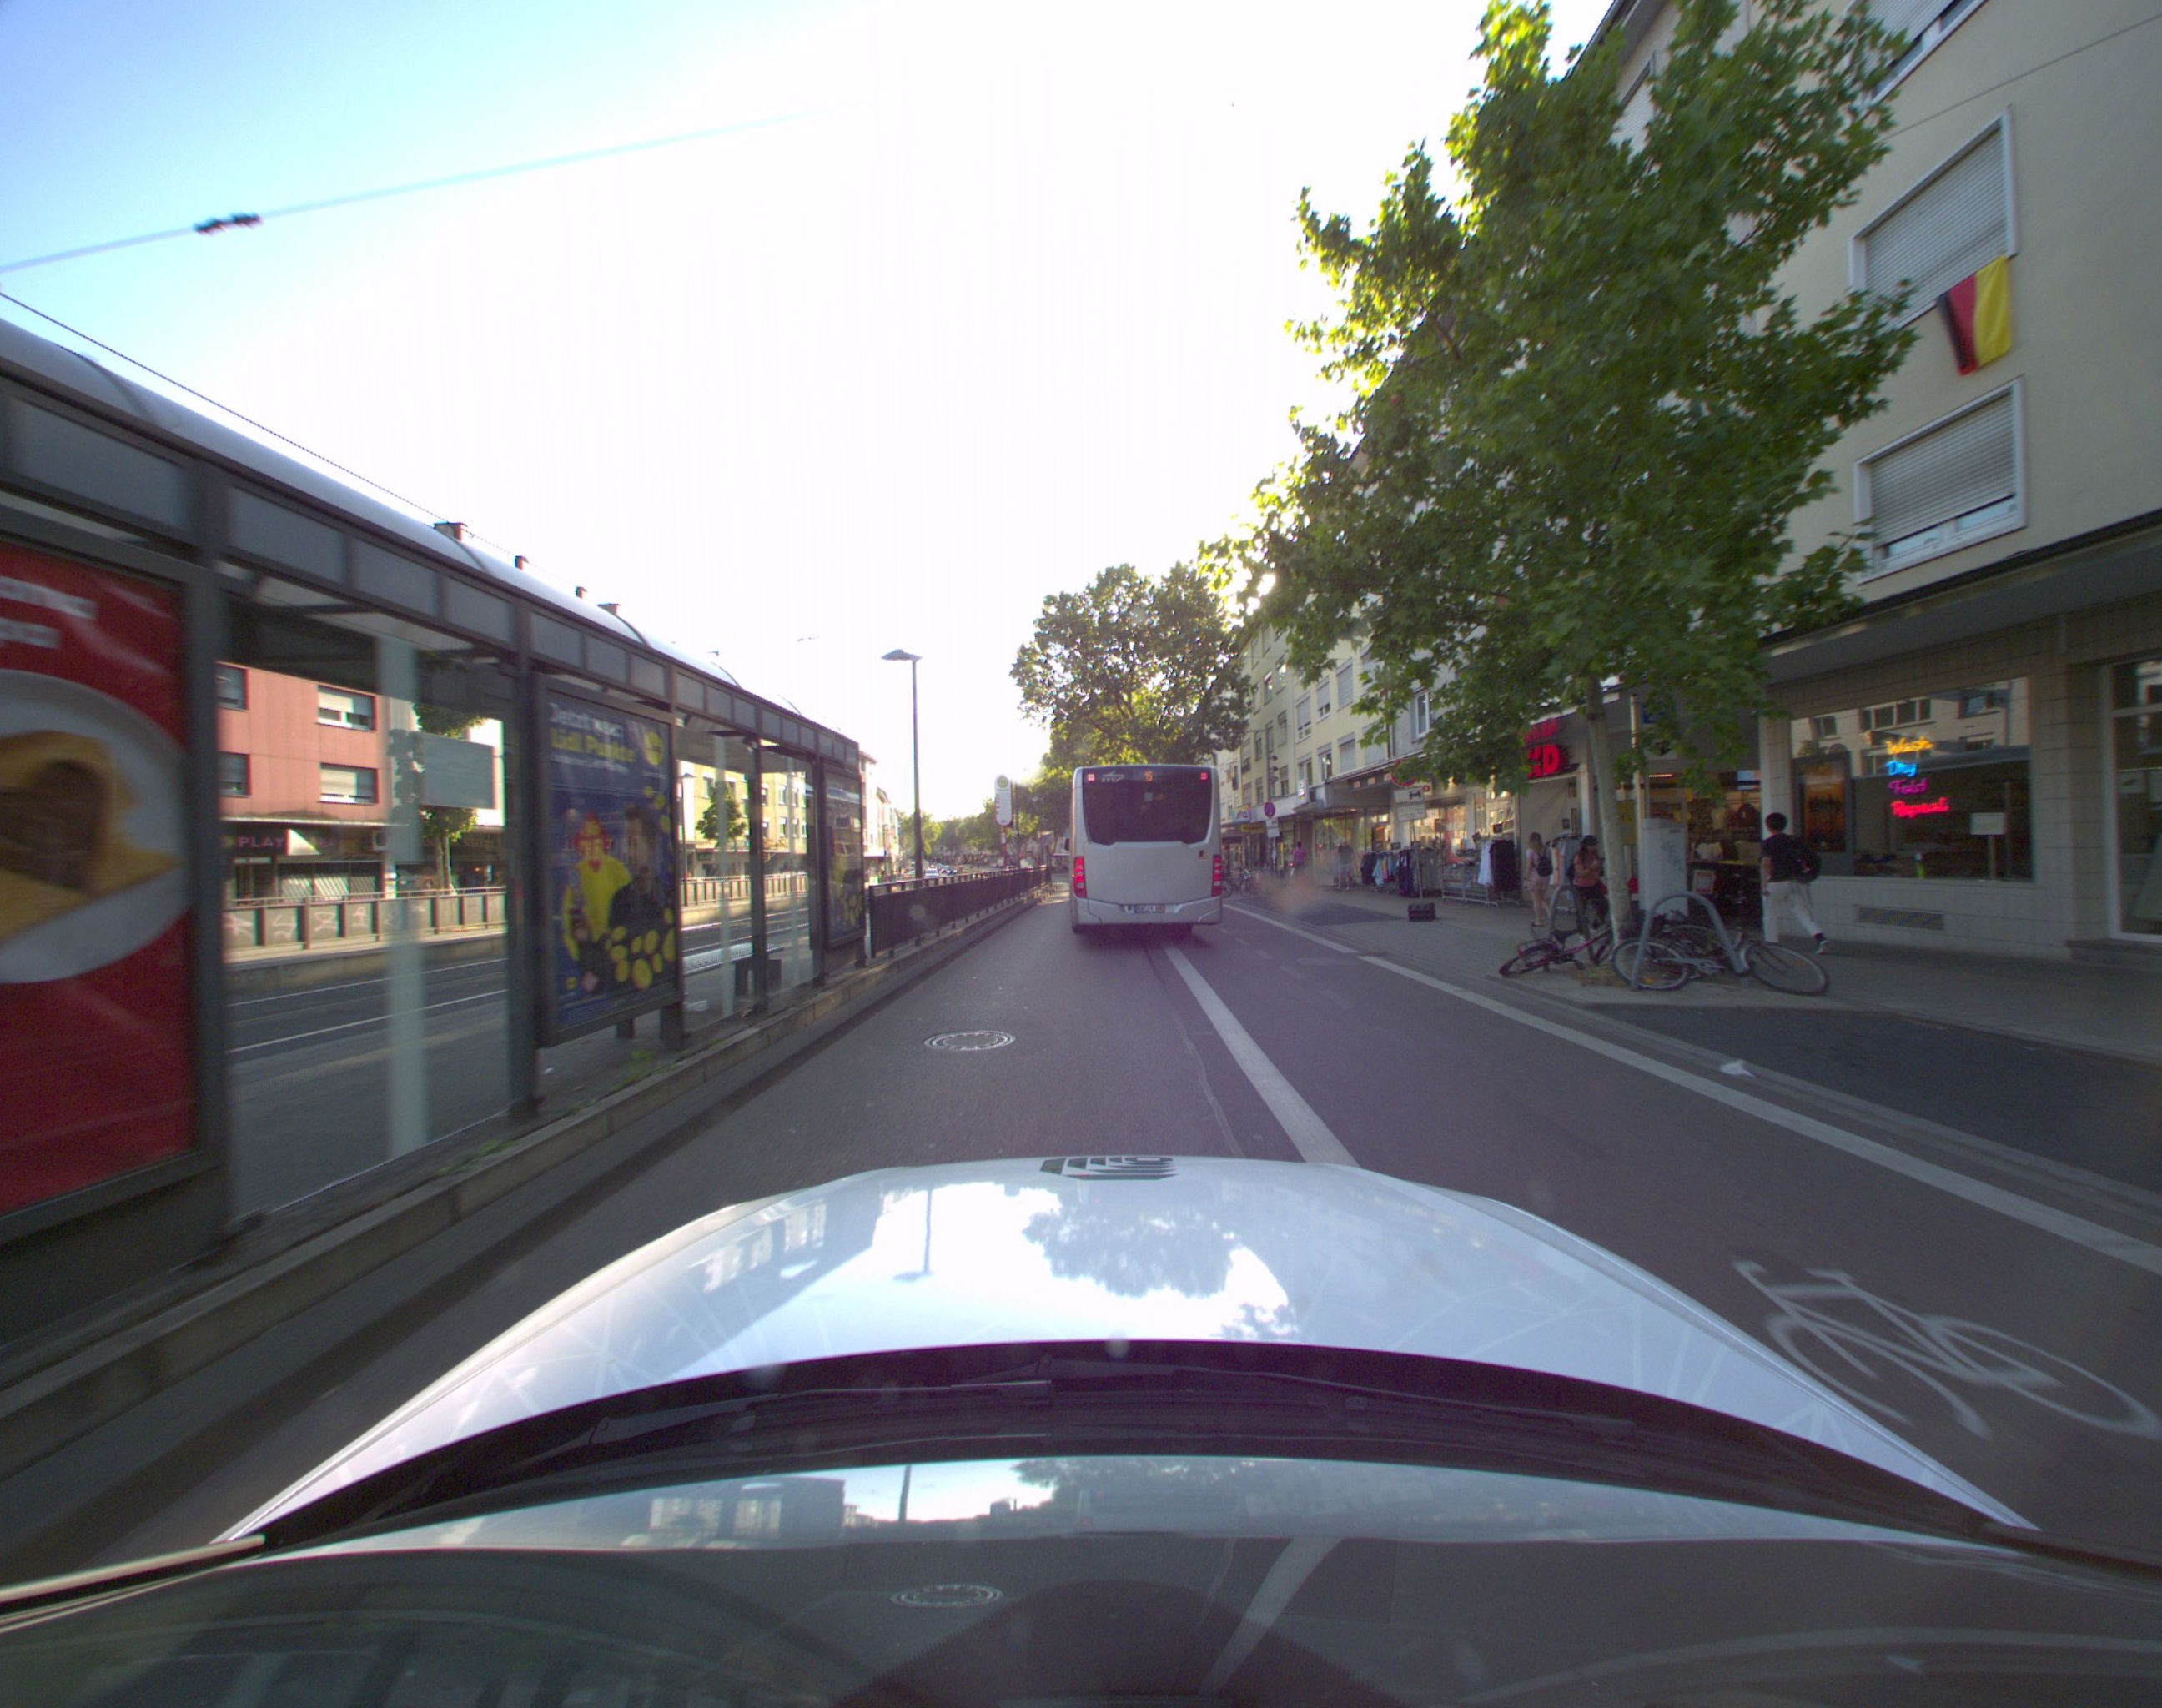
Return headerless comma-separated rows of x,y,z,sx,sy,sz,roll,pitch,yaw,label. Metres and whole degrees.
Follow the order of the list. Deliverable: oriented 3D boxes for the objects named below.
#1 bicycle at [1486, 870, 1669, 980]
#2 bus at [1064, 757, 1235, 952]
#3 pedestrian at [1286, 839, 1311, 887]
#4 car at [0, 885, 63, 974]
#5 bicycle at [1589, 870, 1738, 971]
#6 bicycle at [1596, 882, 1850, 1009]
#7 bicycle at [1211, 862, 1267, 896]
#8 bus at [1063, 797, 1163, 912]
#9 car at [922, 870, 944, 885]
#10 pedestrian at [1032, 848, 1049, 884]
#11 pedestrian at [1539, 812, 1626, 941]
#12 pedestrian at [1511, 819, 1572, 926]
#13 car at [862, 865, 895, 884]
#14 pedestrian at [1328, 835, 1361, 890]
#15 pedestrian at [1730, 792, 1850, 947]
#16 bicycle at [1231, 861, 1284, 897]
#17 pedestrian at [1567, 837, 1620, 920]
5.800,0.812,9.520,1.794,0.630,0.930,-6,-35,-30,bicycle
1.027,0.003,17.991,2.689,3.118,9.375,-1,0,-2,bus
8.445,0.345,31.664,0.721,1.795,0.767,-2,-1,1,pedestrian
-22.089,1.497,15.270,3.531,1.679,1.749,-2,0,-44,car
6.478,0.719,9.038,1.702,0.942,0.646,-1,-9,-34,bicycle
6.128,0.842,7.843,1.778,0.942,0.793,-6,-1,-4,bicycle
5.891,0.930,30.483,1.878,1.077,0.755,-6,0,4,bicycle
0.795,0.022,27.189,2.689,3.118,9.064,-1,0,-2,bus
-18.978,3.007,104.589,1.986,1.651,4.001,-3,0,2,car
-2.864,0.855,58.133,0.884,2.546,1.166,-3,-1,8,pedestrian
7.302,0.316,11.892,0.721,1.795,0.767,-2,-1,1,pedestrian
8.017,0.314,14.212,0.562,1.795,0.767,-2,-1,1,pedestrian
-19.409,1.945,78.355,1.986,1.651,4.001,-3,0,2,car
9.038,0.291,27.970,0.721,1.795,0.767,-5,-1,1,pedestrian
8.632,0.180,9.945,0.721,1.795,0.767,-2,-1,1,pedestrian
6.391,0.905,29.570,1.707,1.077,0.589,-6,0,-16,bicycle
8.841,0.417,14.056,0.473,1.394,0.612,-2,-1,1,pedestrian
